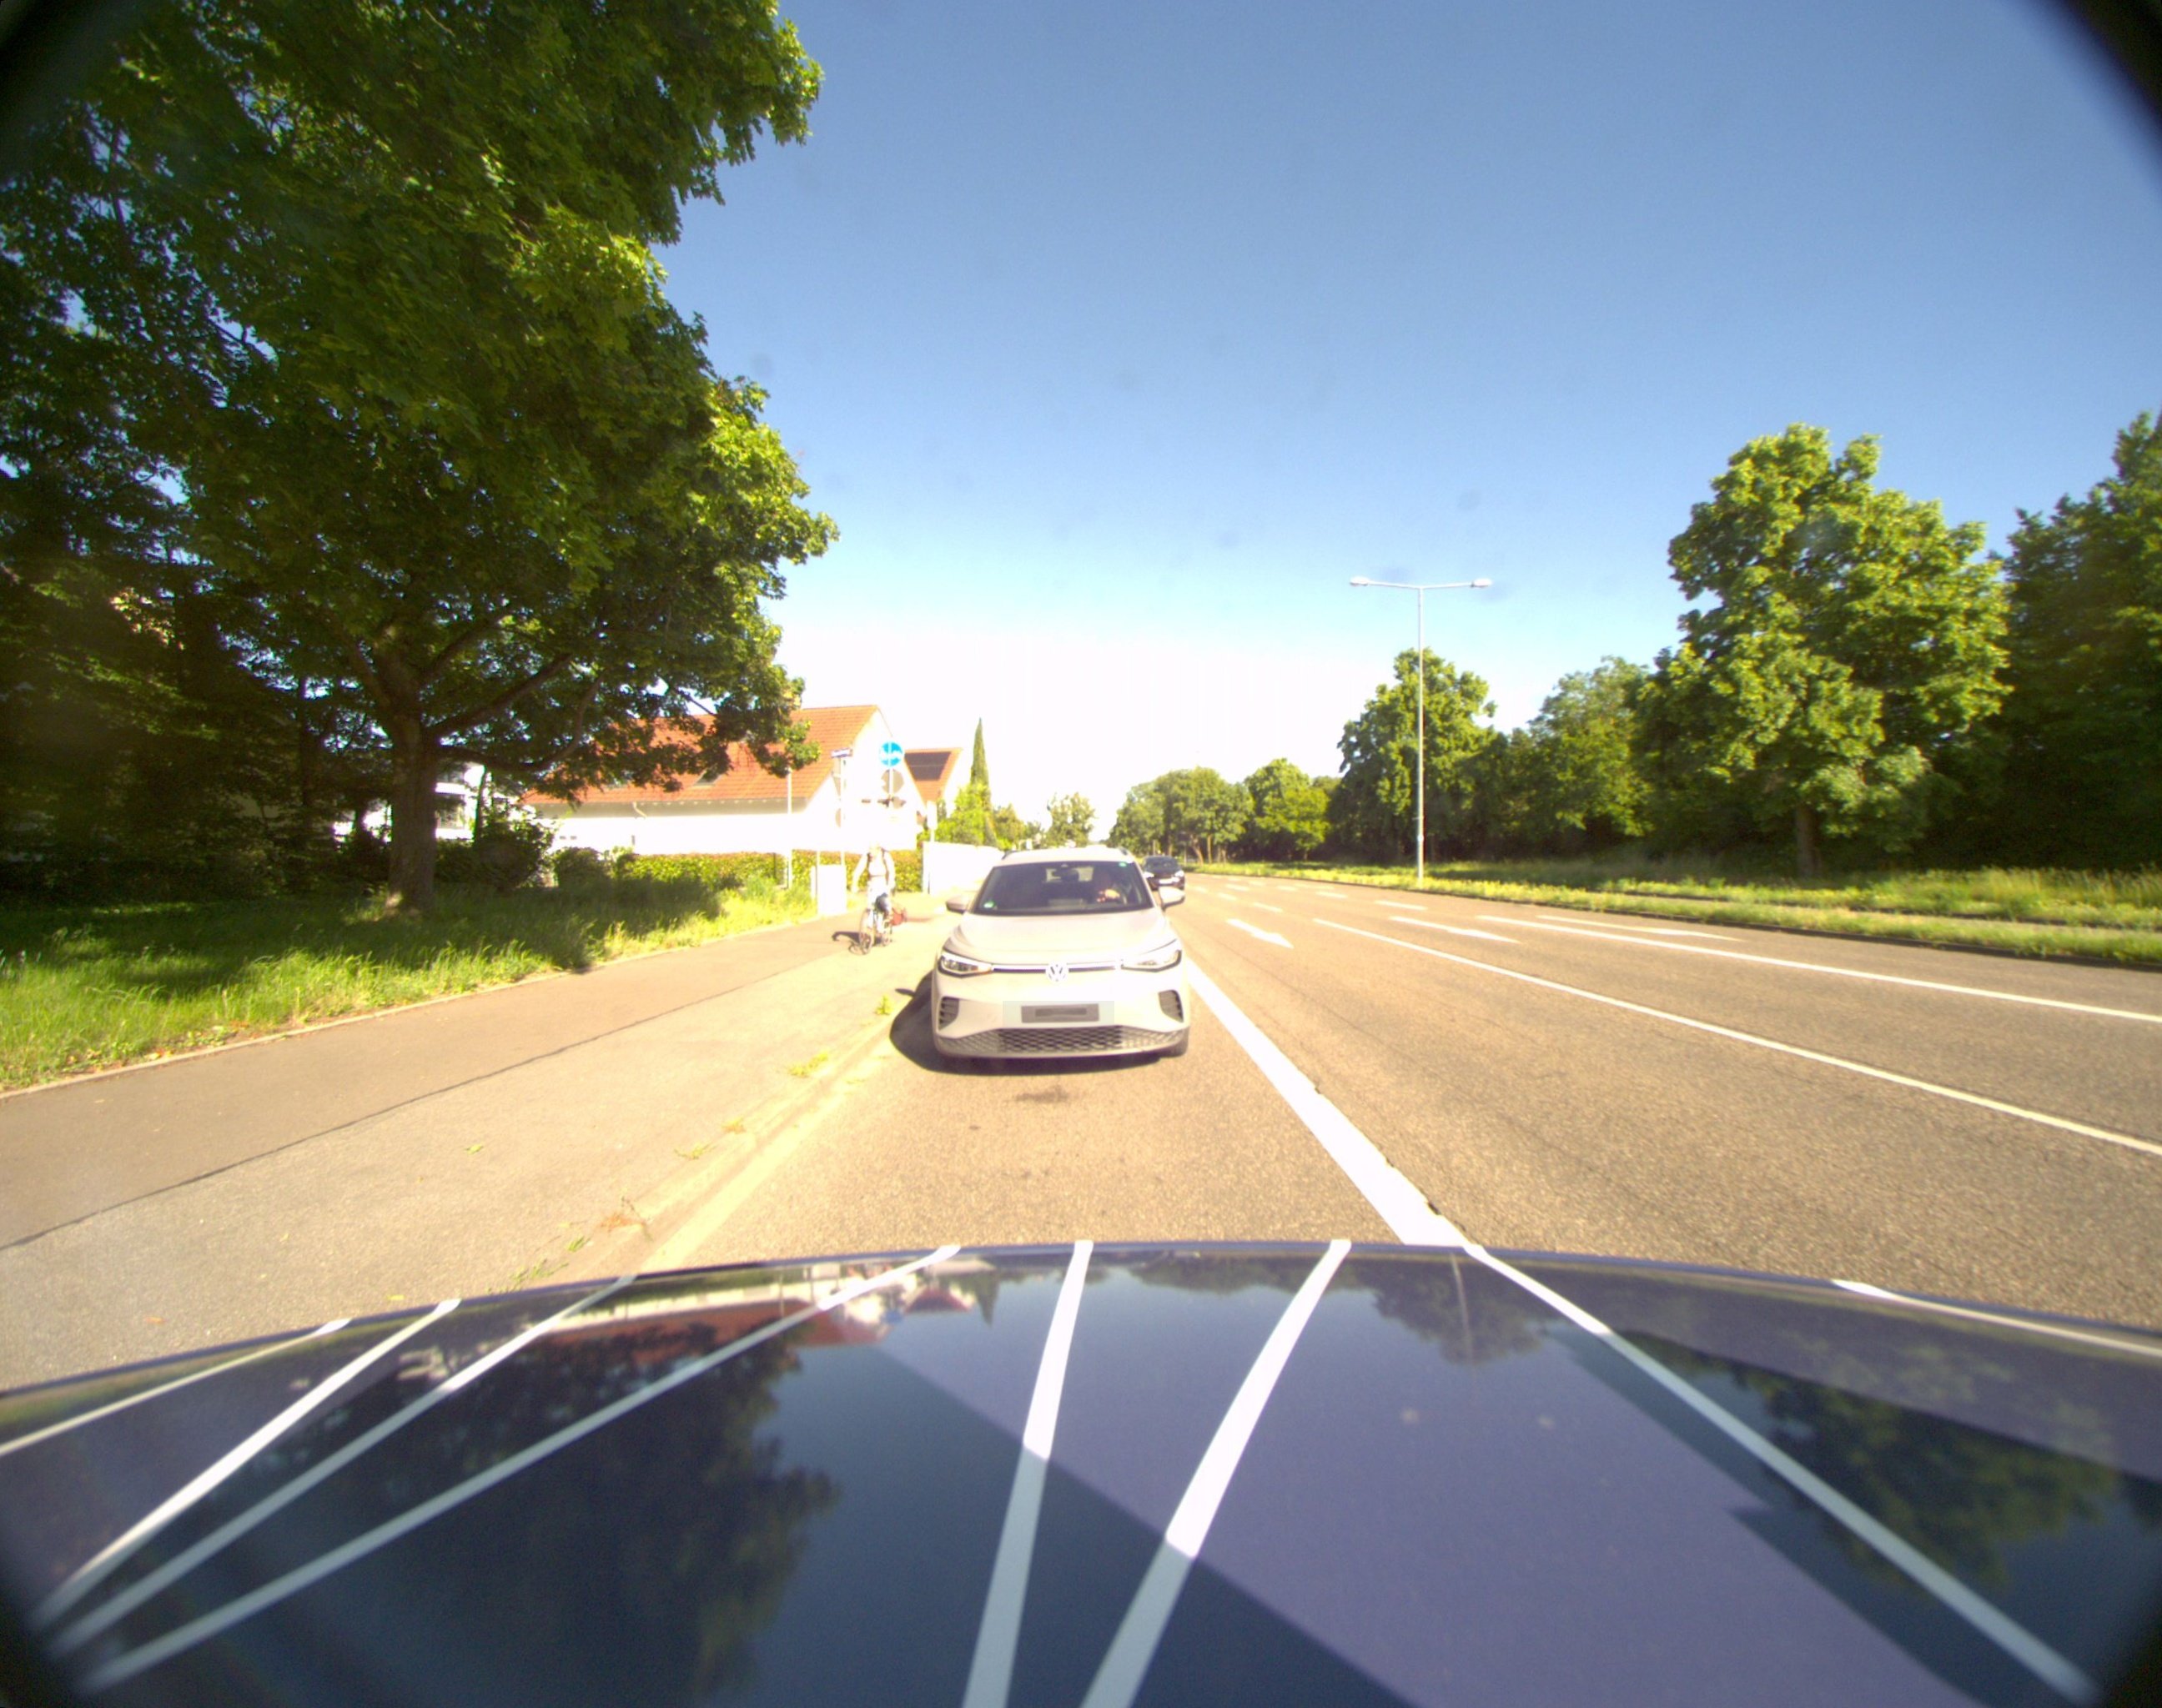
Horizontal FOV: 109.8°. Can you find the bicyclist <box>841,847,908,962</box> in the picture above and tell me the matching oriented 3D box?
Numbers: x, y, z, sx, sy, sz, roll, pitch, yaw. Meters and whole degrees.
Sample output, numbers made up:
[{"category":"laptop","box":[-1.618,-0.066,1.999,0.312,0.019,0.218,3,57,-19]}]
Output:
[{"category":"bicyclist","box":[-3.105,0.735,11.495,0.631,1.623,0.982,3,0,3]}]

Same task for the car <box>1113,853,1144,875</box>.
[{"category":"car","box":[3.613,0.716,58.489,1.856,1.576,3.998,-2,1,-3]}]

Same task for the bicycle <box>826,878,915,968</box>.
[{"category":"bicycle","box":[-3.107,0.977,11.435,0.575,1.148,2.141,3,0,3]}]

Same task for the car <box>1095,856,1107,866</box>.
[{"category":"car","box":[3.429,1.213,131.589,1.856,1.576,3.998,-2,1,-3]}]

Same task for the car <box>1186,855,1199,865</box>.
[{"category":"car","box":[20.616,1.056,140.701,1.917,1.693,4.407,-2,1,1]}]

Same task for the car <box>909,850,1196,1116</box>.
[{"category":"car","box":[-0.157,0.819,7.011,1.766,1.606,4.297,-3,1,1]}]

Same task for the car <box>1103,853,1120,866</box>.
[{"category":"car","box":[3.989,0.744,99.889,1.856,1.576,3.998,-2,1,-3]}]

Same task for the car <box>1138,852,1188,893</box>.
[{"category":"car","box":[3.538,0.767,33.465,1.766,1.606,4.297,-2,1,1]}]
